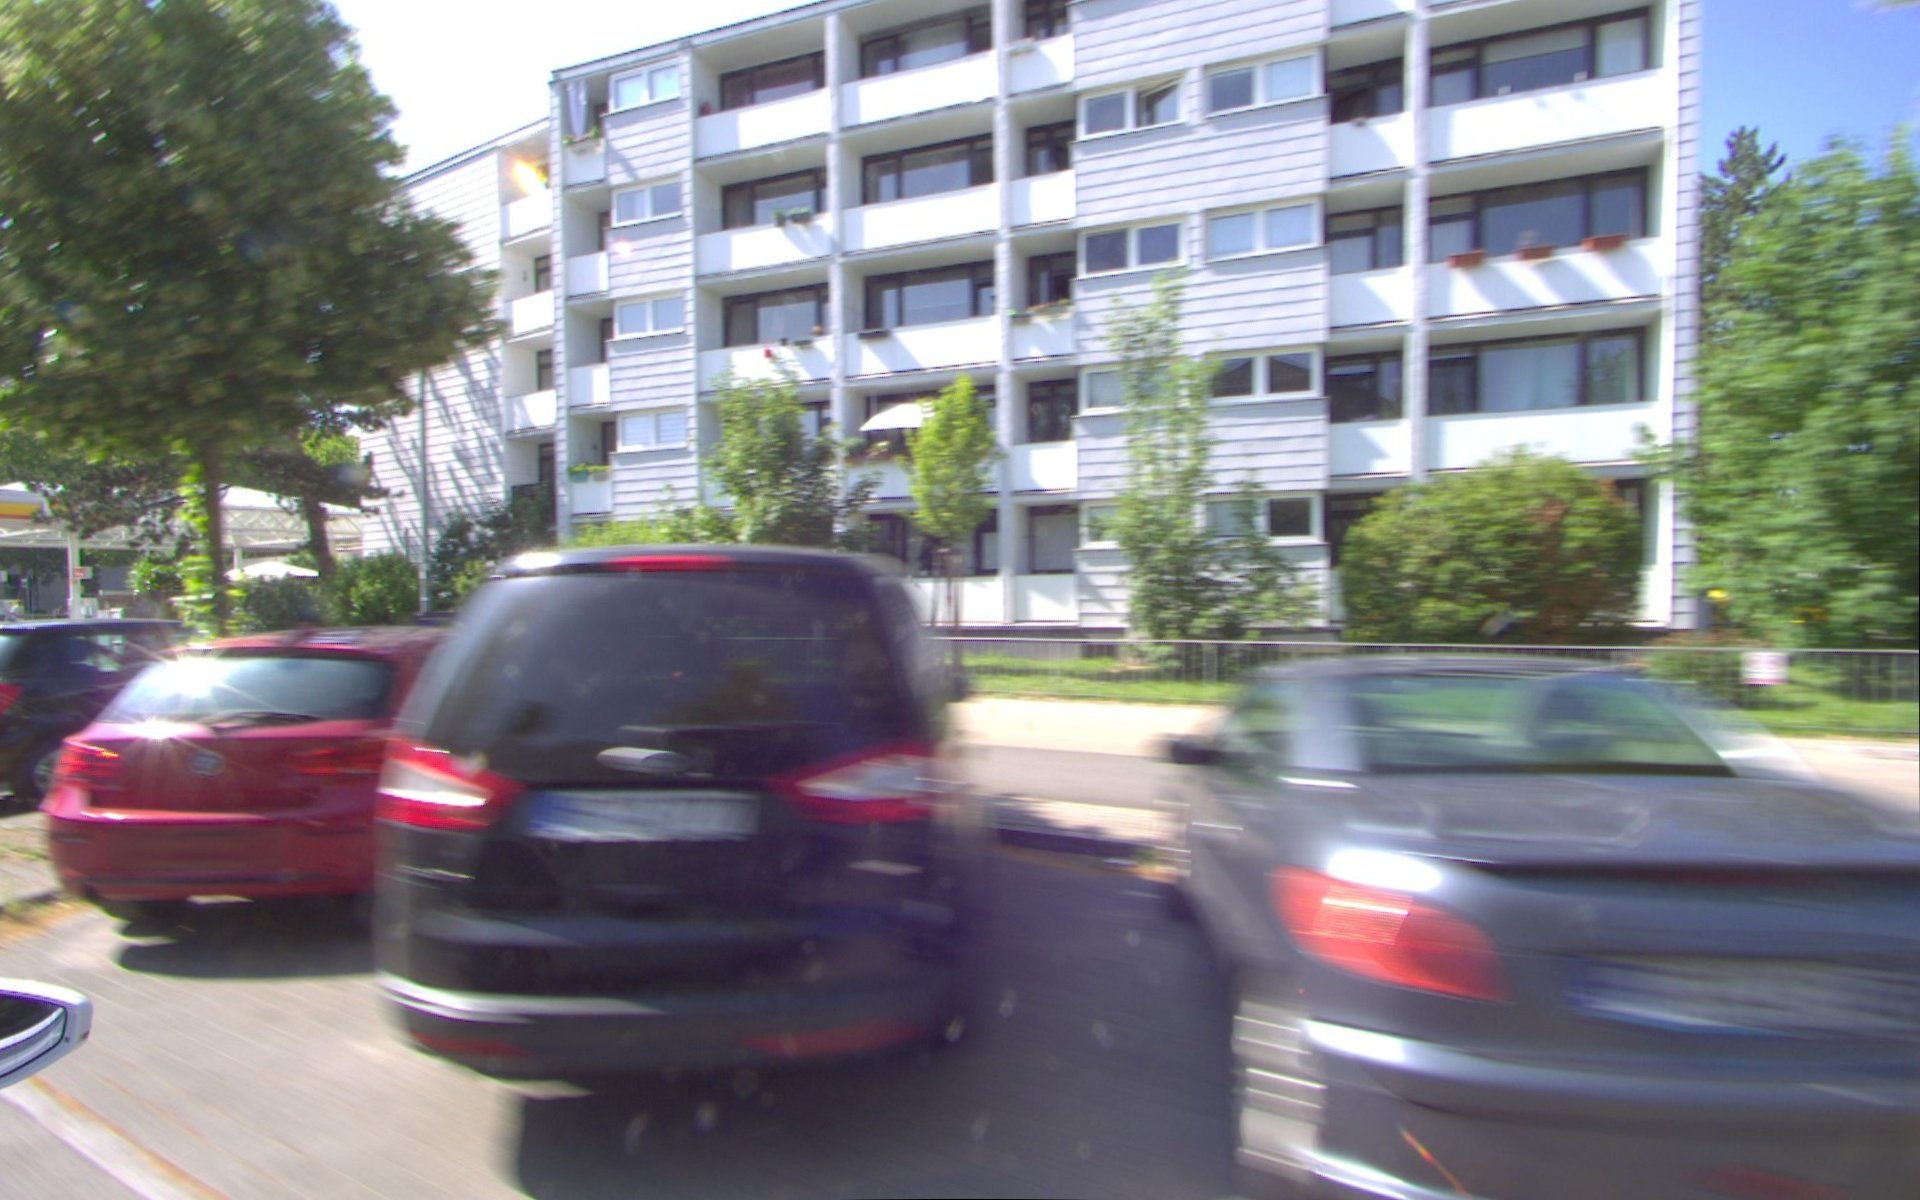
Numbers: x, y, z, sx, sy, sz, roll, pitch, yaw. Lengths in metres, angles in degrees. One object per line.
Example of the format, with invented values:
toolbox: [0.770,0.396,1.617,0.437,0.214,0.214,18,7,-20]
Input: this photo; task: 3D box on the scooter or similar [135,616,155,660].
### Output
scooter or similar: [-22.621,1.049,27.800,0.946,1.182,0.229,0,1,40]

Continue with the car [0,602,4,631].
car: [-48.530,0.835,49.460,3.601,1.417,1.641,0,1,43]

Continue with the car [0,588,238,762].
car: [-9.965,0.710,10.335,1.719,1.662,3.997,1,1,10]

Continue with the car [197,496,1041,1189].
car: [-0.858,0.576,4.491,2.004,1.662,4.119,-1,0,-1]

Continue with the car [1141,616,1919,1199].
car: [1.709,0.740,3.814,1.719,1.253,3.998,0,0,6]

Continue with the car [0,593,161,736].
car: [-12.064,0.758,11.664,1.722,1.662,3.991,0,1,20]

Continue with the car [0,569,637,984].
car: [-3.436,0.722,6.104,1.844,1.662,3.999,-1,0,-4]

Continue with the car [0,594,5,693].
car: [-17.193,0.762,14.787,1.719,1.682,4.745,-1,0,-2]

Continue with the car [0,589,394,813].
car: [-7.609,0.744,9.394,1.767,1.662,3.996,0,0,13]
